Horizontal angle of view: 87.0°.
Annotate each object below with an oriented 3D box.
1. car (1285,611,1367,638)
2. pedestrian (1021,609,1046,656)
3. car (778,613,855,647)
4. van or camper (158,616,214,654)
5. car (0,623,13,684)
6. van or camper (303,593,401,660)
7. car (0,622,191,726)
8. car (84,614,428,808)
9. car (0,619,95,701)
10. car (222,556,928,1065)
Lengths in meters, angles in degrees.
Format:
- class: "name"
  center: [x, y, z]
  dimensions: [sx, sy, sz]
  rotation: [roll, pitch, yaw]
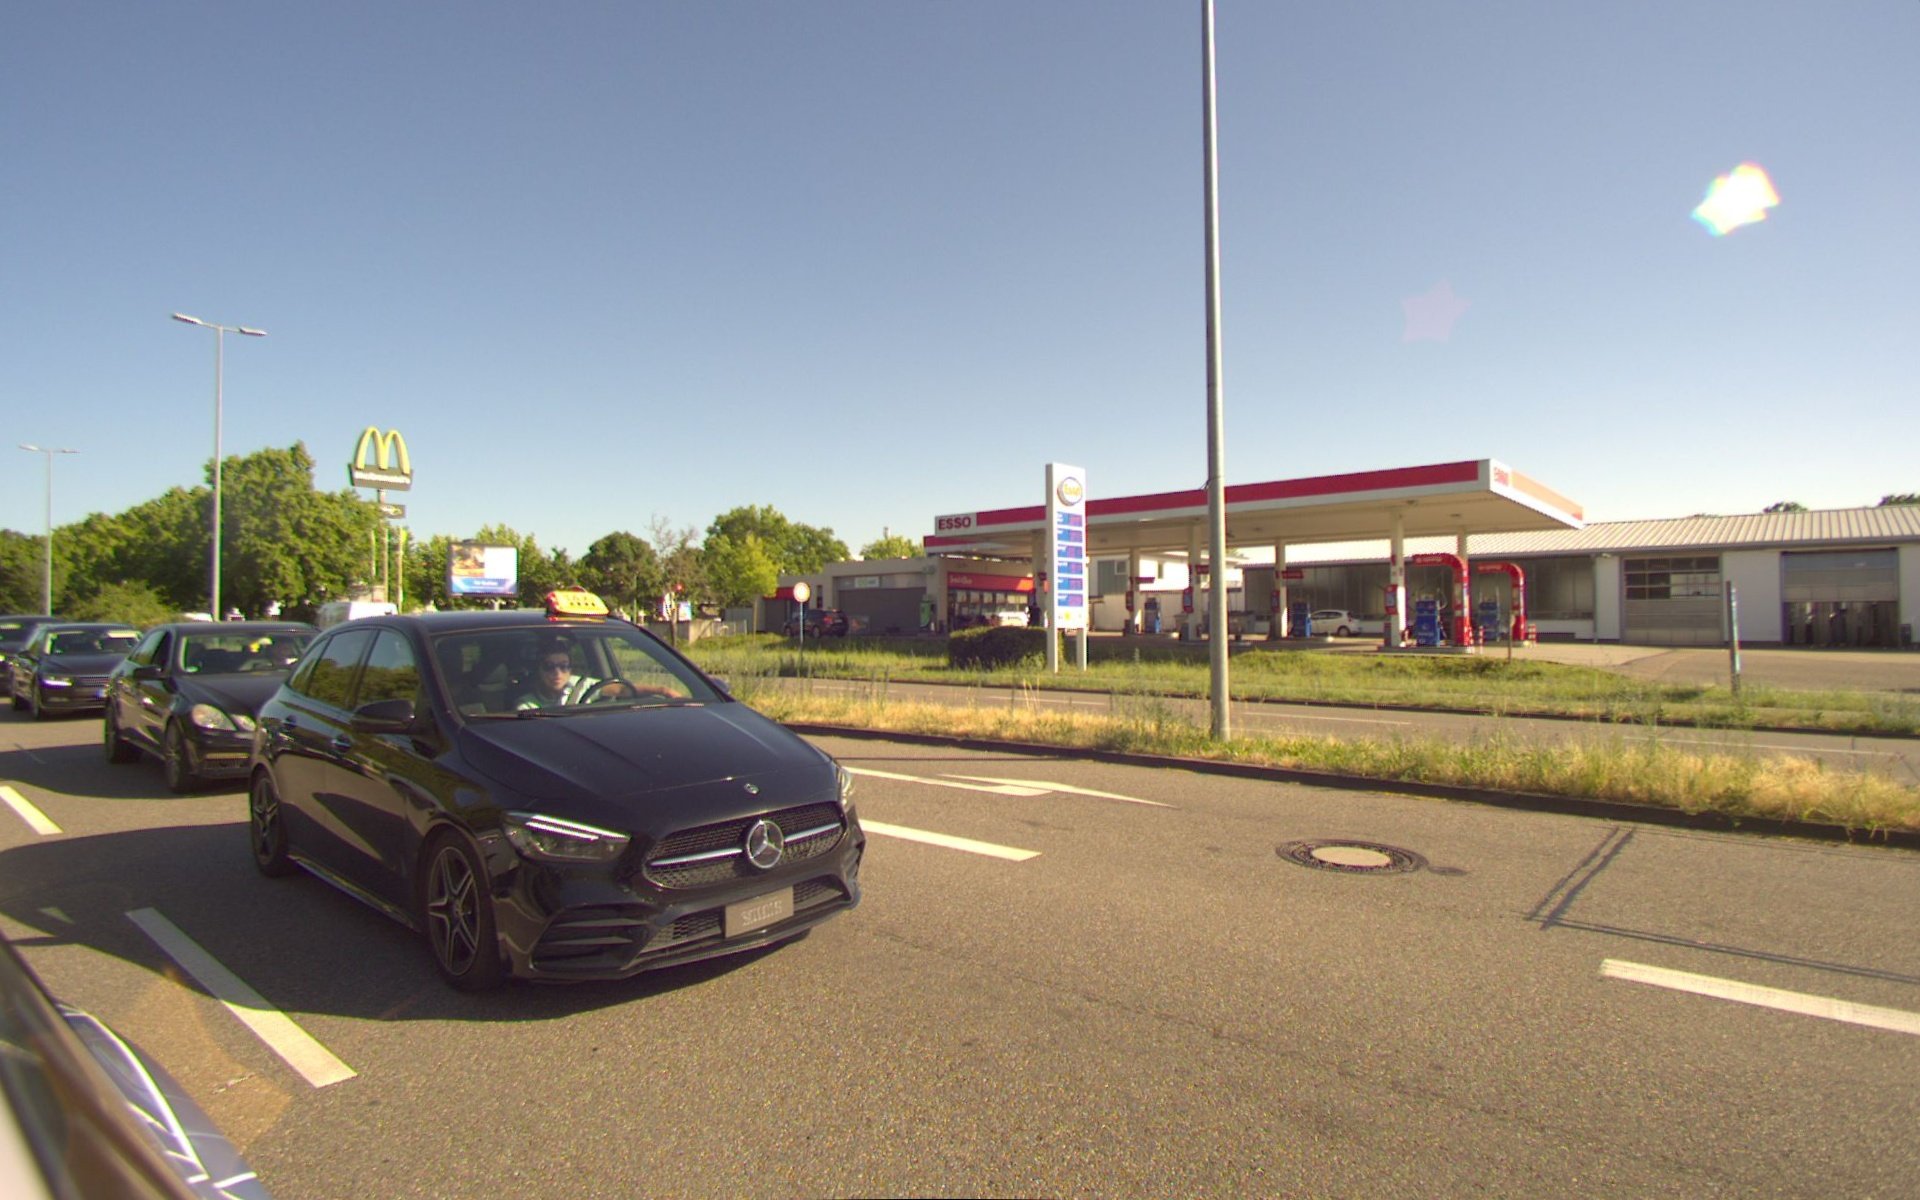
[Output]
- class: "car"
  center: [19.835, 1.325, 54.878]
  dimensions: [3.844, 1.450, 1.730]
  rotation: [-2, -2, 39]
- class: "pedestrian"
  center: [3.244, 1.423, 44.769]
  dimensions: [0.840, 2.029, 0.694]
  rotation: [-2, -2, 41]
- class: "car"
  center: [-7.815, 1.625, 55.018]
  dimensions: [4.117, 1.783, 1.972]
  rotation: [-2, -1, 43]
- class: "van or camper"
  center: [-57.351, 2.619, 74.962]
  dimensions: [5.952, 2.671, 1.973]
  rotation: [-1, -4, 40]
- class: "car"
  center: [-27.110, 1.436, 27.325]
  dimensions: [4.401, 1.600, 1.838]
  rotation: [-2, -2, 41]
- class: "van or camper"
  center: [-25.455, 1.086, 42.244]
  dimensions: [2.152, 2.592, 6.760]
  rotation: [1, -2, -43]
- class: "car"
  center: [-14.435, 1.124, 16.779]
  dimensions: [4.401, 1.492, 1.838]
  rotation: [-2, -2, 41]
- class: "car"
  center: [-7.203, 0.931, 10.175]
  dimensions: [4.401, 1.535, 1.838]
  rotation: [-2, -2, 41]
- class: "car"
  center: [-20.123, 1.227, 21.648]
  dimensions: [4.401, 1.600, 1.838]
  rotation: [-2, -2, 41]
- class: "car"
  center: [-2.293, 0.729, 5.345]
  dimensions: [4.187, 1.638, 1.780]
  rotation: [-2, -2, 42]
